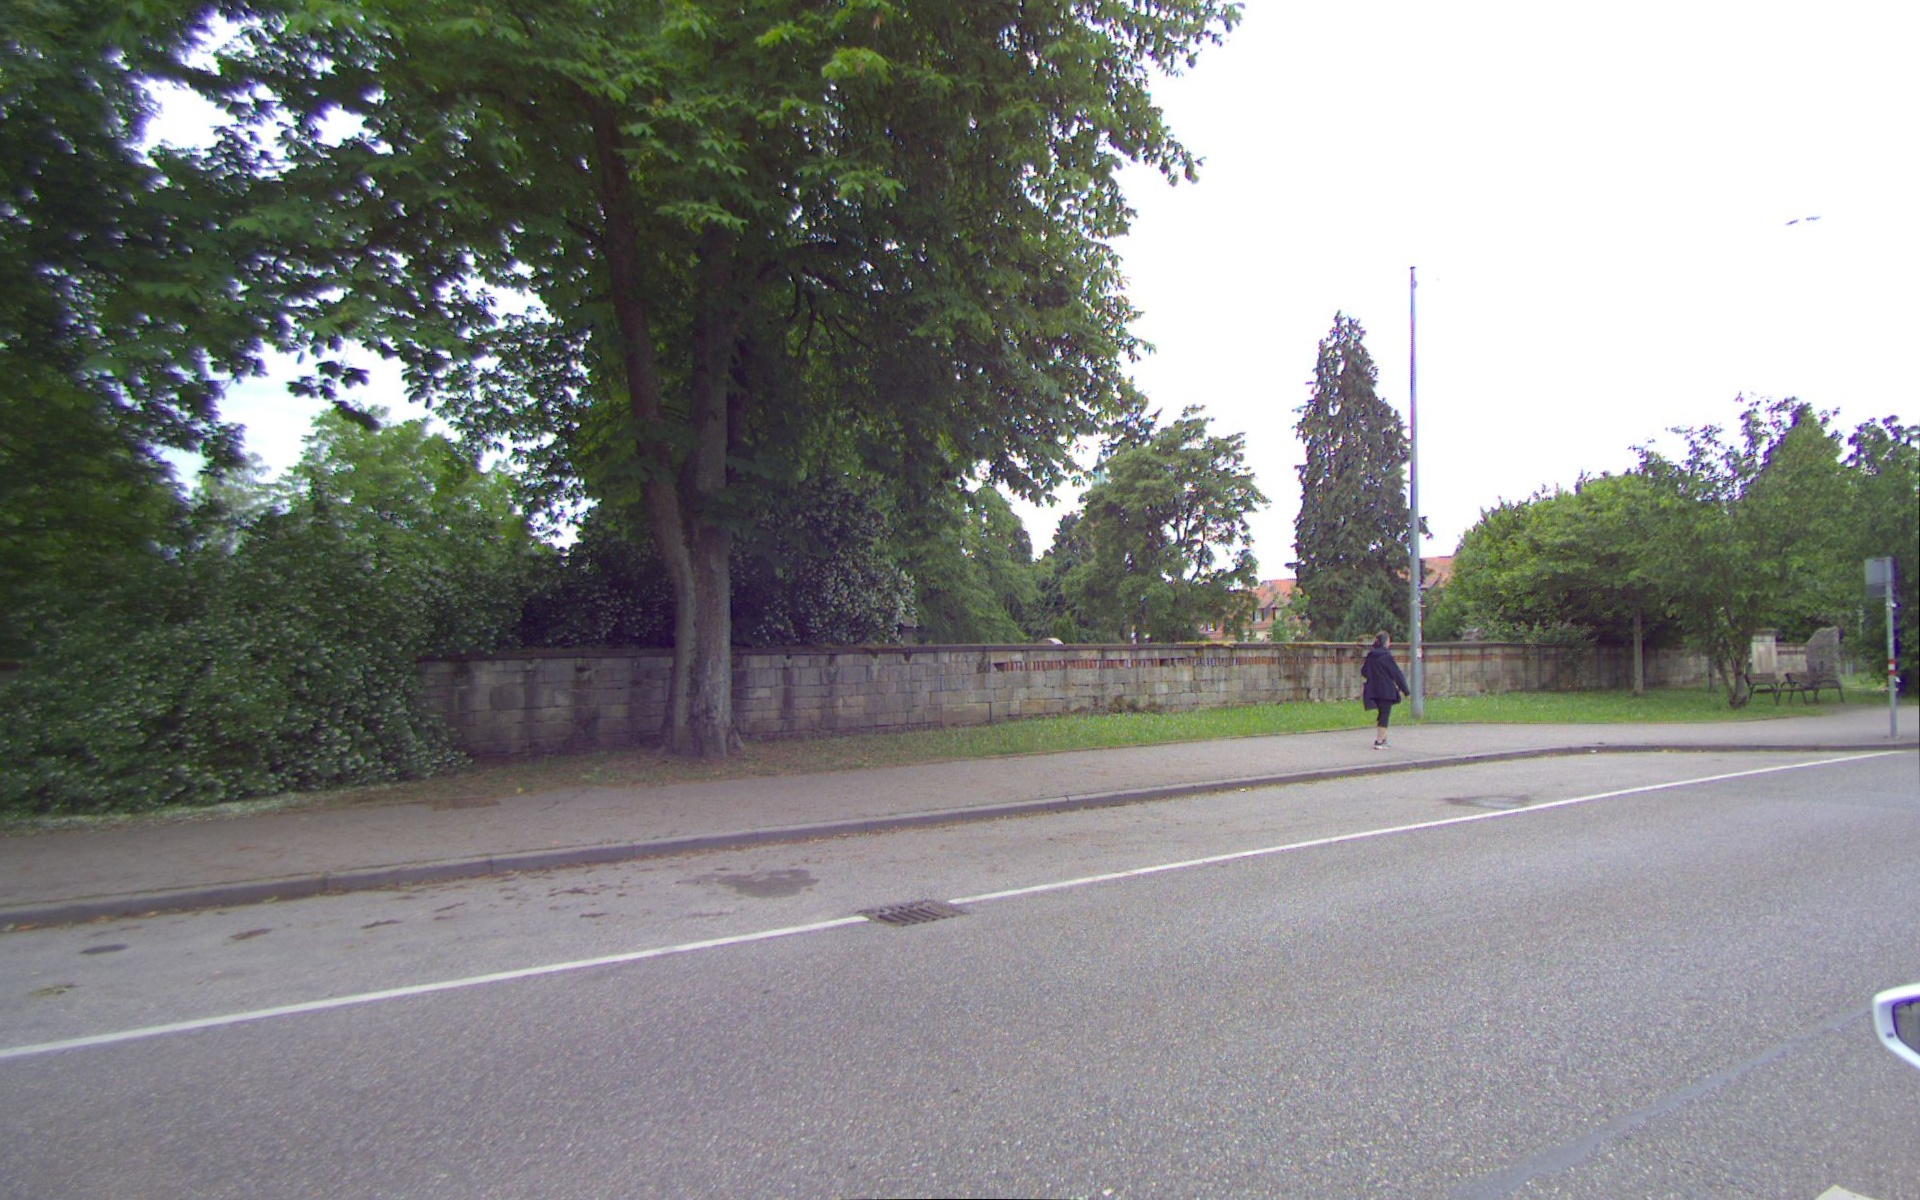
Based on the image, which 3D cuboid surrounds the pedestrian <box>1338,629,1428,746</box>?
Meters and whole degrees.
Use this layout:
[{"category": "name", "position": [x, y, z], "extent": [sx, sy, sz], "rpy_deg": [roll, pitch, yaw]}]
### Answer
[{"category": "pedestrian", "position": [6.032, 1.225, 14.340], "extent": [0.955, 1.598, 0.745], "rpy_deg": [1, -3, -30]}]
